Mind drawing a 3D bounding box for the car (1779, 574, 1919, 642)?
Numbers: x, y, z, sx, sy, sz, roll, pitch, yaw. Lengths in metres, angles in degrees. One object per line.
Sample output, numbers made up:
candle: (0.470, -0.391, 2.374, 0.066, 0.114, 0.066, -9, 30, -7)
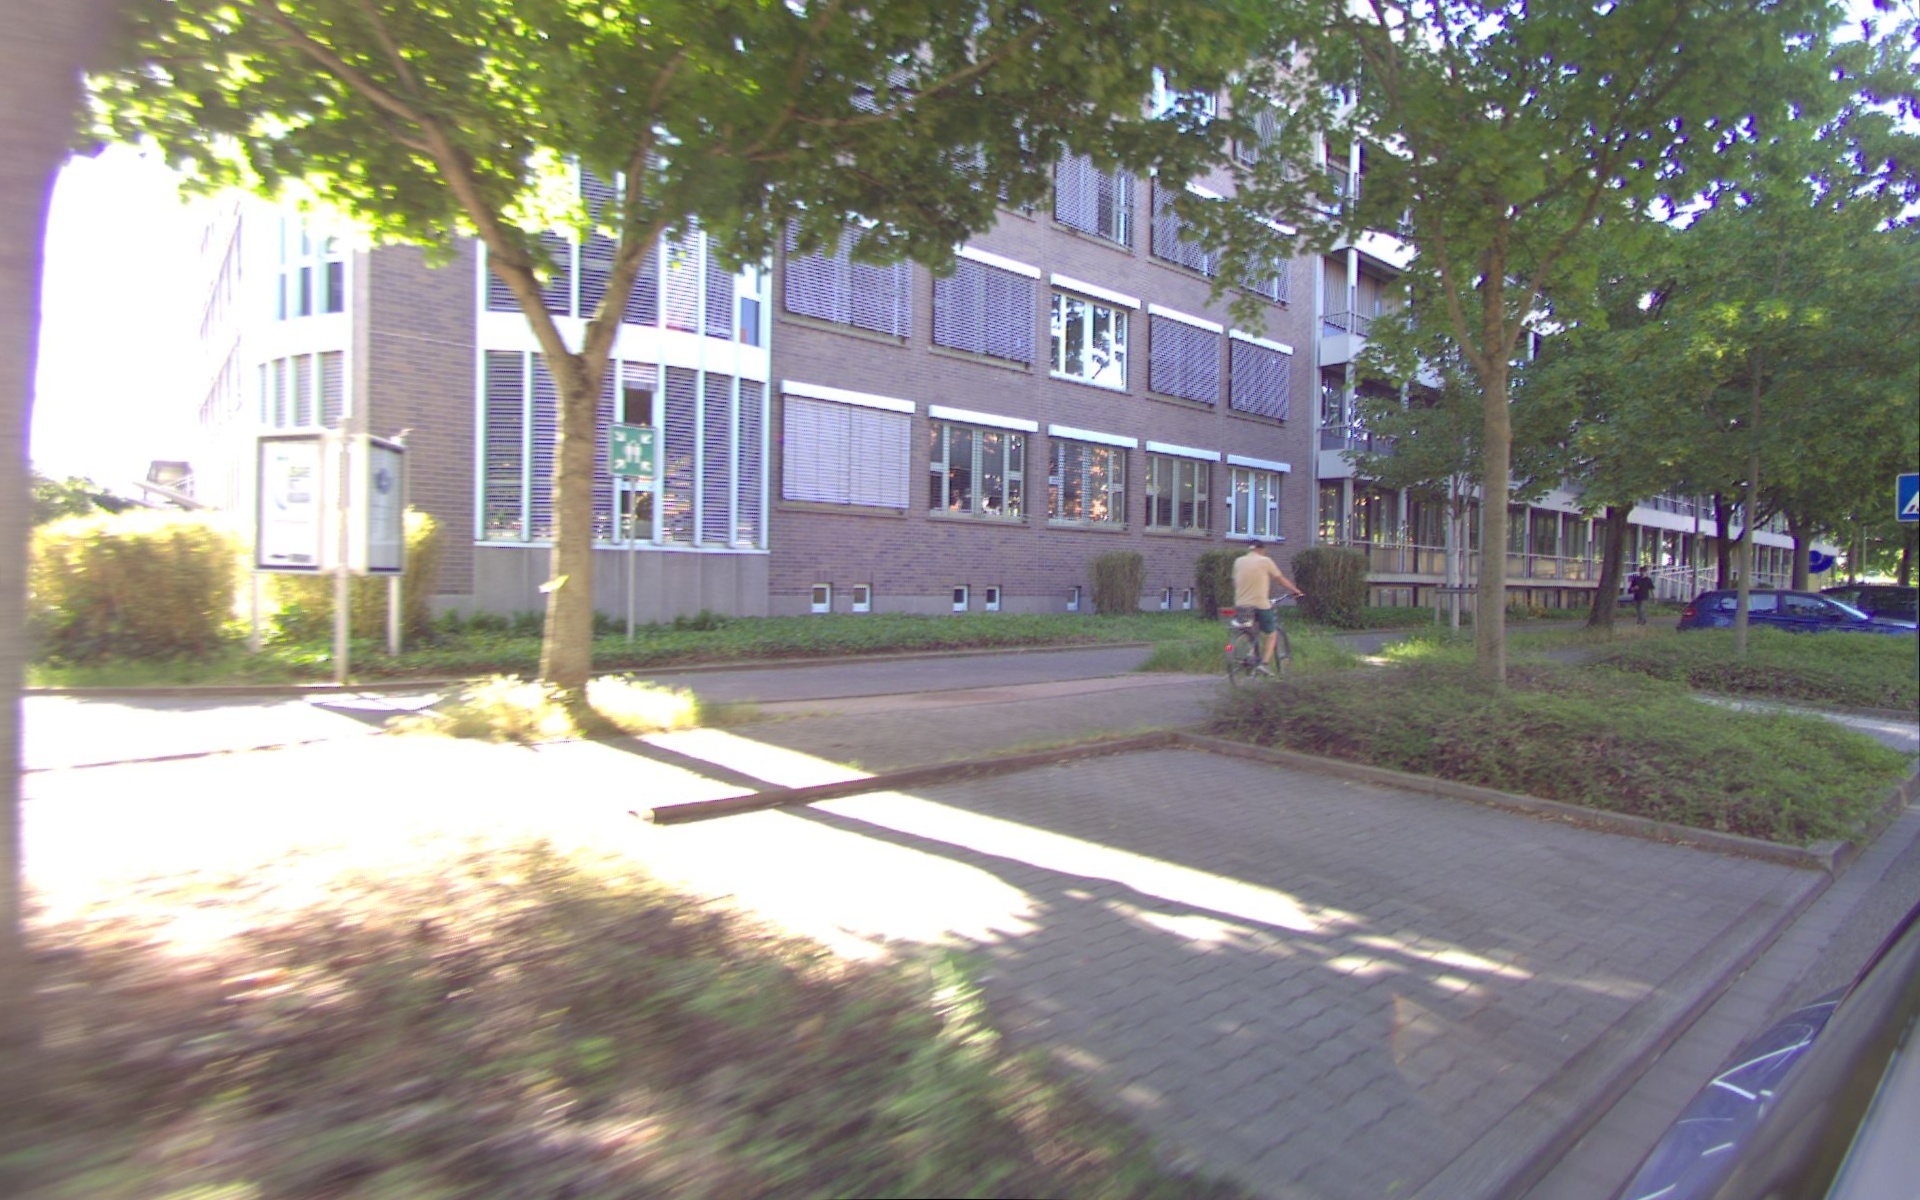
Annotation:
car: (22.790, 0.203, 24.719, 1.633, 1.478, 4.129, -1, 4, -44)

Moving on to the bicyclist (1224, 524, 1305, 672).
bicyclist: (3.548, -0.033, 11.786, 0.808, 1.657, 0.538, 0, 1, -40)

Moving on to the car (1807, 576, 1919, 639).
car: (24.832, 0.210, 26.246, 1.805, 1.536, 4.132, 0, 3, -42)

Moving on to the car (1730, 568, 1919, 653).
car: (19.421, 0.188, 21.922, 1.633, 1.609, 4.129, -2, 5, -44)

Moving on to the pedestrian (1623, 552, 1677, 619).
pedestrian: (19.477, -0.407, 28.579, 1.001, 1.821, 1.036, -1, 0, -41)

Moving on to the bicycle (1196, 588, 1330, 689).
bicycle: (3.560, 0.408, 11.803, 1.885, 1.091, 0.535, -1, 2, -40)

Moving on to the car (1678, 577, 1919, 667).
car: (16.070, 0.359, 18.853, 1.627, 1.387, 4.121, -1, 4, -43)

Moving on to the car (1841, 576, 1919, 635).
car: (27.518, 0.175, 28.381, 1.683, 1.604, 3.998, -1, 3, -38)

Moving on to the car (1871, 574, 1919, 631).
car: (30.013, 0.091, 30.162, 1.876, 1.687, 4.128, 0, 2, -44)
